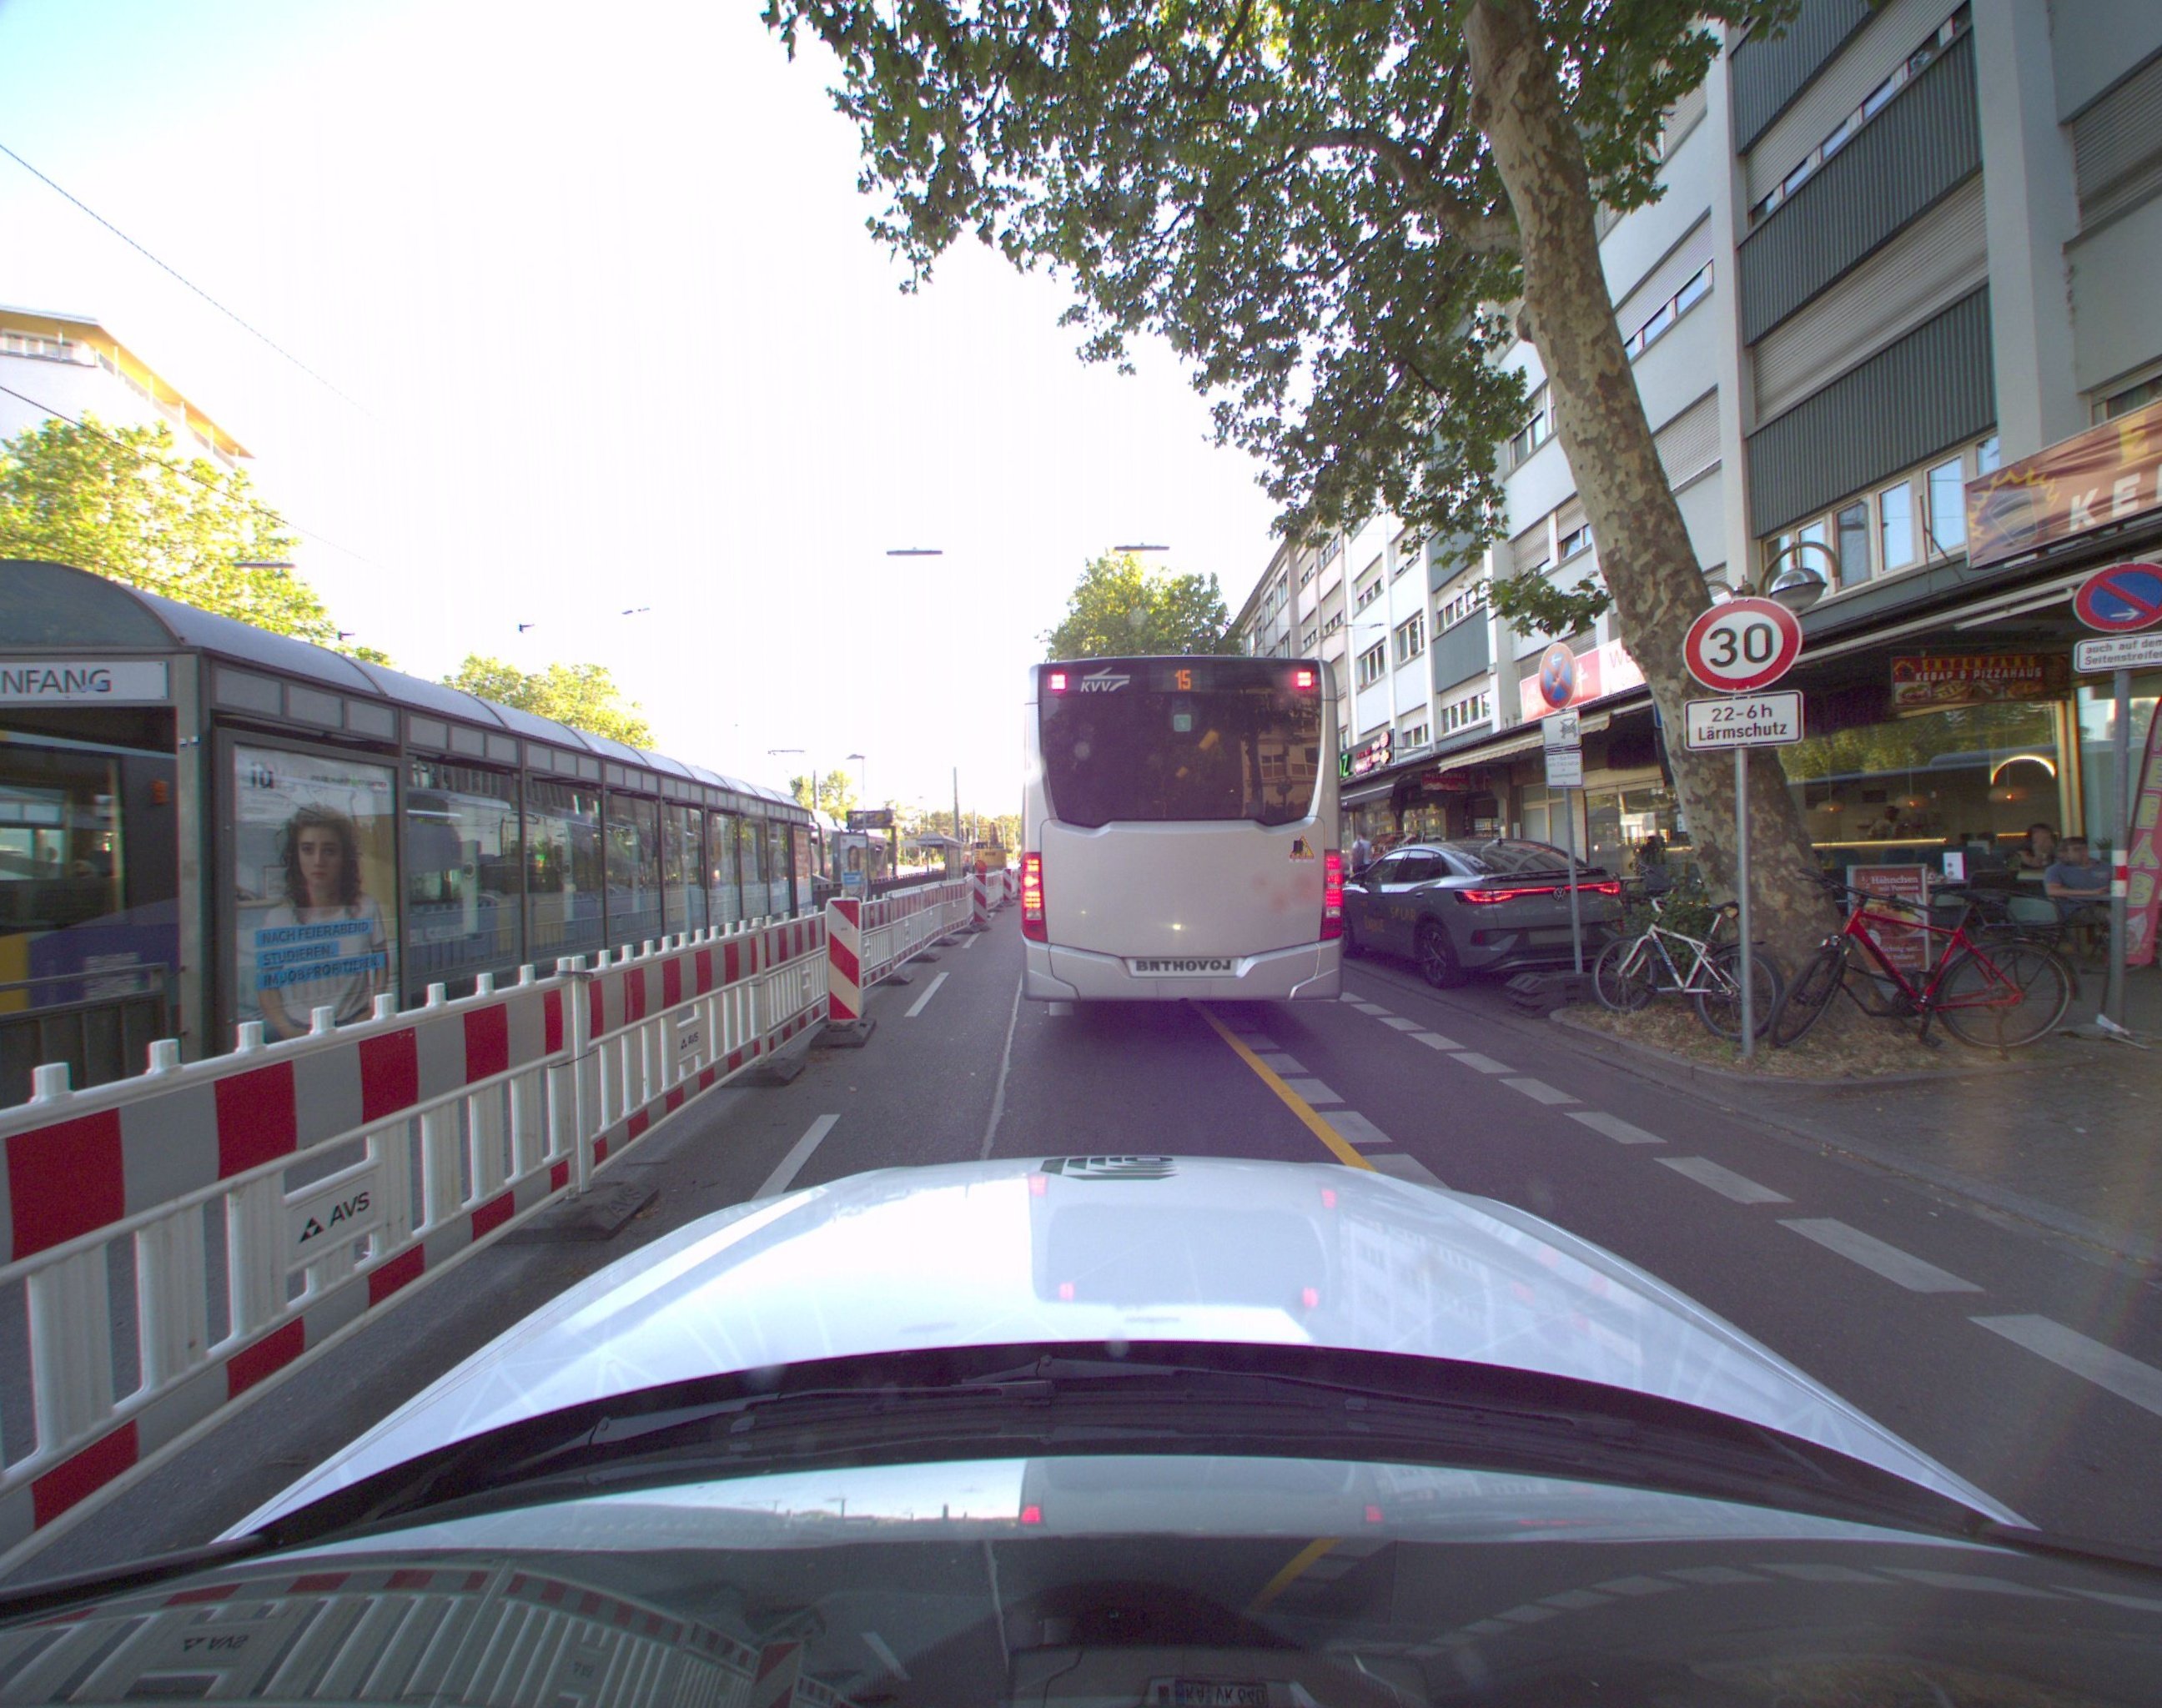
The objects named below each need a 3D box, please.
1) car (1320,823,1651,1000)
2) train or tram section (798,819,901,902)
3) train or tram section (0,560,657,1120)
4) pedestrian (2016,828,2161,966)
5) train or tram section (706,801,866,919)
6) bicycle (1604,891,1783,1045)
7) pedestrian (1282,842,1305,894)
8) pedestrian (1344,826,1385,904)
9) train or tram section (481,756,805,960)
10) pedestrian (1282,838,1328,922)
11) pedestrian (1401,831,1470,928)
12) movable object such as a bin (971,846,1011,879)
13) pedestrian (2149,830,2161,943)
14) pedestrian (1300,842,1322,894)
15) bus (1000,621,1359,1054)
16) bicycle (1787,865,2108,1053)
[{"bbox_3d":[4.599,0.572,10.127,1.736,1.597,4.294,-4,0,-3],"label":"car"},{"bbox_3d":[-11.038,0.325,39.945,2.812,3.487,10.320,-2,0,-5],"label":"train or tram section"},{"bbox_3d":[-8.509,-0.017,9.151,2.831,3.487,10.319,-2,0,-5],"label":"train or tram section"},{"bbox_3d":[9.632,0.390,7.698,0.673,1.203,0.706,-5,-1,11],"label":"pedestrian"},{"bbox_3d":[-10.246,0.228,29.714,2.831,3.487,10.319,-2,0,-5],"label":"train or tram section"},{"bbox_3d":[4.488,0.792,6.042,0.294,0.927,1.127,-6,2,-8],"label":"bicycle"},{"bbox_3d":[8.433,0.552,32.343,0.688,2.014,0.696,-2,-1,1],"label":"pedestrian"},{"bbox_3d":[7.557,0.293,21.733,0.766,2.013,0.714,-4,-1,3],"label":"pedestrian"},{"bbox_3d":[-9.402,0.104,19.414,2.866,3.487,10.319,-2,0,-5],"label":"train or tram section"},{"bbox_3d":[4.753,0.549,17.310,0.750,1.726,0.660,-2,-1,-1],"label":"pedestrian"},{"bbox_3d":[6.059,0.423,13.915,0.882,1.581,0.742,-1,-1,-43],"label":"pedestrian"},{"bbox_3d":[-7.002,0.657,63.868,2.800,2.462,3.995,-2,0,-3],"label":"movable object such as a bin"},{"bbox_3d":[9.569,0.394,6.661,0.612,1.243,0.714,-5,-1,11],"label":"pedestrian"},{"bbox_3d":[9.112,0.547,32.318,0.610,2.014,0.696,-2,-1,1],"label":"pedestrian"},{"bbox_3d":[0.928,-0.112,11.218,2.598,3.170,10.297,-1,0,2],"label":"bus"},{"bbox_3d":[5.501,0.679,5.223,1.450,1.066,0.297,-6,2,13],"label":"bicycle"}]
